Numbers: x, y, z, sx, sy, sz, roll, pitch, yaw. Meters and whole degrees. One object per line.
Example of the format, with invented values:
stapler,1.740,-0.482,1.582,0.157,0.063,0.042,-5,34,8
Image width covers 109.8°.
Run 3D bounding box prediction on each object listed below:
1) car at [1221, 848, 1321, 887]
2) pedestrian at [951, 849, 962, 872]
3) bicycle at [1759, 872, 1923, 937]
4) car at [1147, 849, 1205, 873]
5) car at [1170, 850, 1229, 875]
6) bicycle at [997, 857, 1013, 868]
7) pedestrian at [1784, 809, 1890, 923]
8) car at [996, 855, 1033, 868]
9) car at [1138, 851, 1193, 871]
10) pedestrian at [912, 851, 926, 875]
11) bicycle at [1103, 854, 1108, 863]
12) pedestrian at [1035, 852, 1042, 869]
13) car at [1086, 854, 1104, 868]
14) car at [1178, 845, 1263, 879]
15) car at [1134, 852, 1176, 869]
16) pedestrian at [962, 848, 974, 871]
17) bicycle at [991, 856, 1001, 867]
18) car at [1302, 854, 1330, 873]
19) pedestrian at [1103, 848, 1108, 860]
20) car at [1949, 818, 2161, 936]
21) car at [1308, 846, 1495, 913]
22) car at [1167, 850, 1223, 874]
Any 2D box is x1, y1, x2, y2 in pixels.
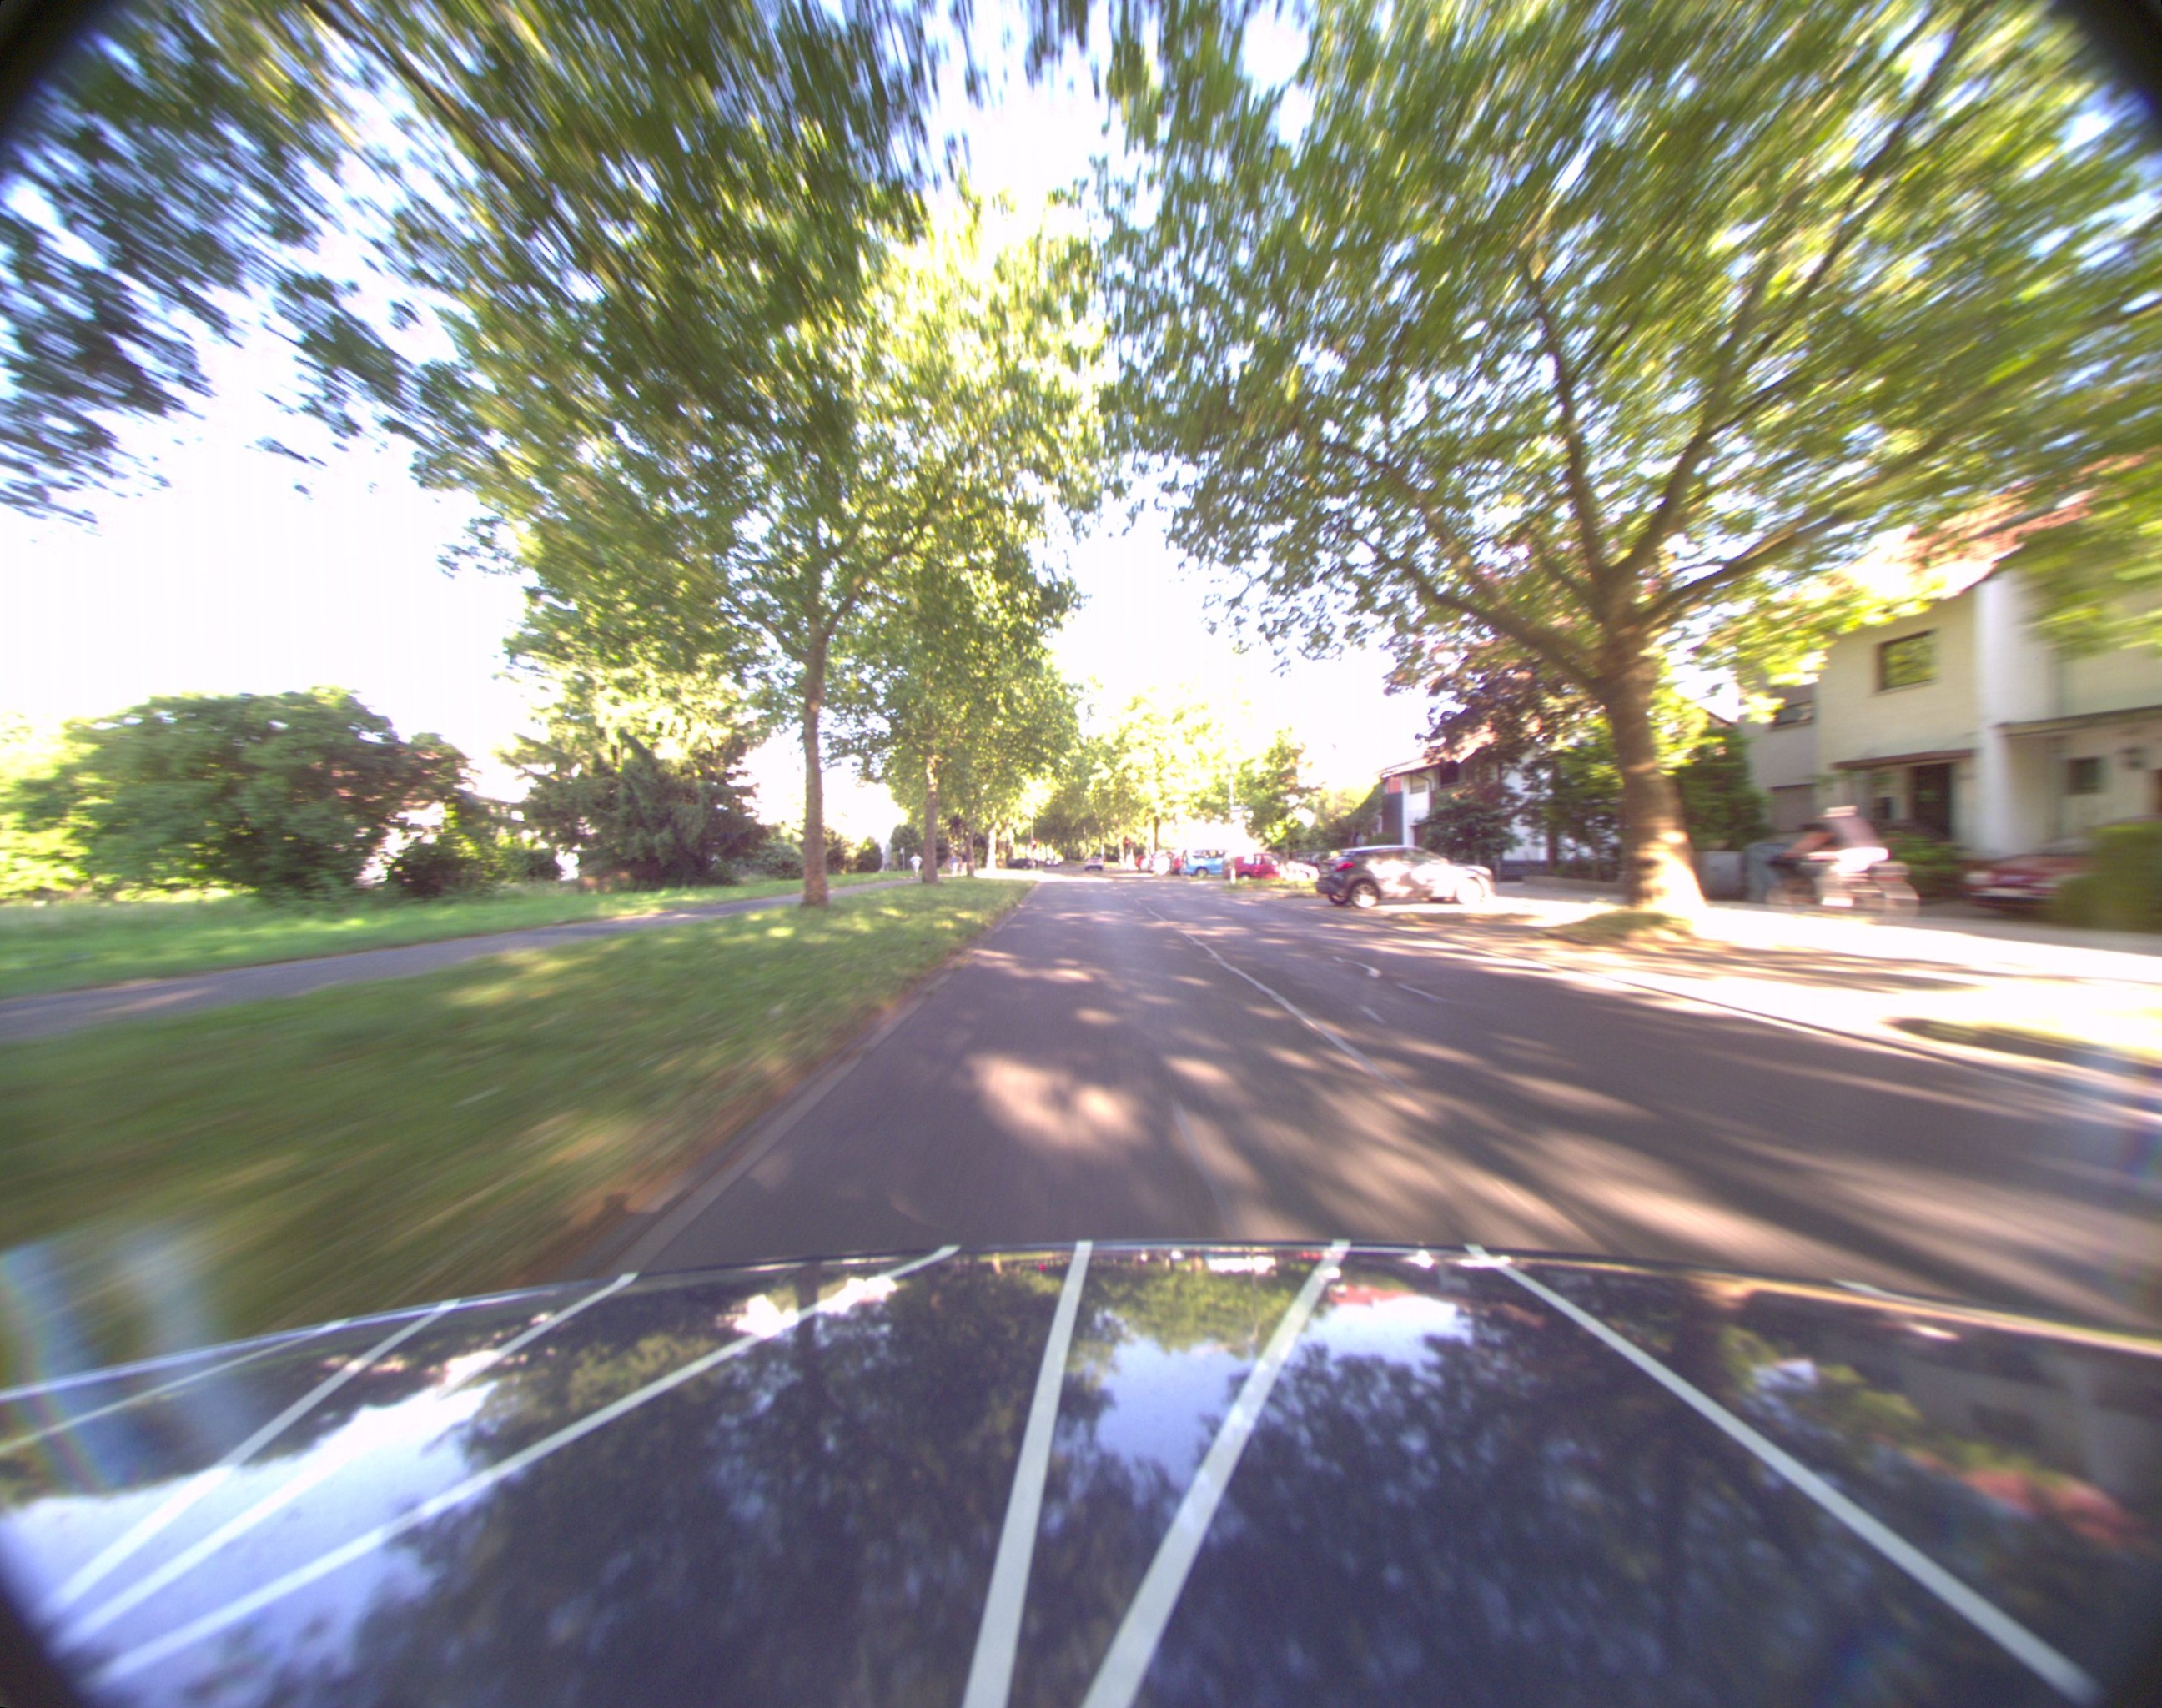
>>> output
car,8.295,0.584,33.329,3.882,1.510,1.664,-2,1,-4
pedestrian,-10.138,0.496,62.010,0.756,1.836,0.802,-1,1,1
bicycle,11.986,0.762,12.102,0.471,0.875,2.155,-1,0,1
car,7.253,0.493,58.311,4.103,1.706,1.831,-2,1,-3
car,7.966,0.564,51.190,3.652,1.508,1.781,-2,0,-3
bicycle,-7.834,0.888,78.288,1.715,1.028,0.447,-1,-2,32
pedestrian,11.910,0.182,12.006,0.618,1.706,1.065,-1,1,0
car,-7.790,0.840,89.022,4.064,1.455,1.732,-1,1,3
car,7.031,0.580,63.405,4.173,1.492,1.875,-2,1,-5
pedestrian,-11.007,0.603,51.667,0.782,1.640,0.938,0,0,-3
bicycle,3.210,0.542,100.573,0.510,1.036,2.151,2,3,-2
pedestrian,-4.299,0.658,77.006,0.637,1.709,0.825,1,0,-11
car,1.517,0.733,83.158,1.721,1.492,4.093,-2,0,-2
car,7.950,0.428,43.557,4.398,1.813,1.995,-1,1,-4
car,7.130,0.579,73.319,3.775,1.526,1.830,-2,1,-5
pedestrian,-9.205,0.439,61.826,0.763,1.835,0.787,-1,1,1
bicycle,-8.674,0.809,77.154,0.447,1.076,2.004,1,-2,-23
car,14.620,0.563,47.278,1.518,1.110,0.700,-3,1,-2
pedestrian,3.225,-0.014,100.511,0.510,1.524,1.033,-1,4,-3
car,16.788,0.267,11.897,3.997,1.468,2.000,-5,0,0
car,8.114,0.621,19.500,3.999,1.509,1.817,-2,0,-2
car,8.000,0.549,53.495,3.522,1.508,1.726,-2,0,-7
